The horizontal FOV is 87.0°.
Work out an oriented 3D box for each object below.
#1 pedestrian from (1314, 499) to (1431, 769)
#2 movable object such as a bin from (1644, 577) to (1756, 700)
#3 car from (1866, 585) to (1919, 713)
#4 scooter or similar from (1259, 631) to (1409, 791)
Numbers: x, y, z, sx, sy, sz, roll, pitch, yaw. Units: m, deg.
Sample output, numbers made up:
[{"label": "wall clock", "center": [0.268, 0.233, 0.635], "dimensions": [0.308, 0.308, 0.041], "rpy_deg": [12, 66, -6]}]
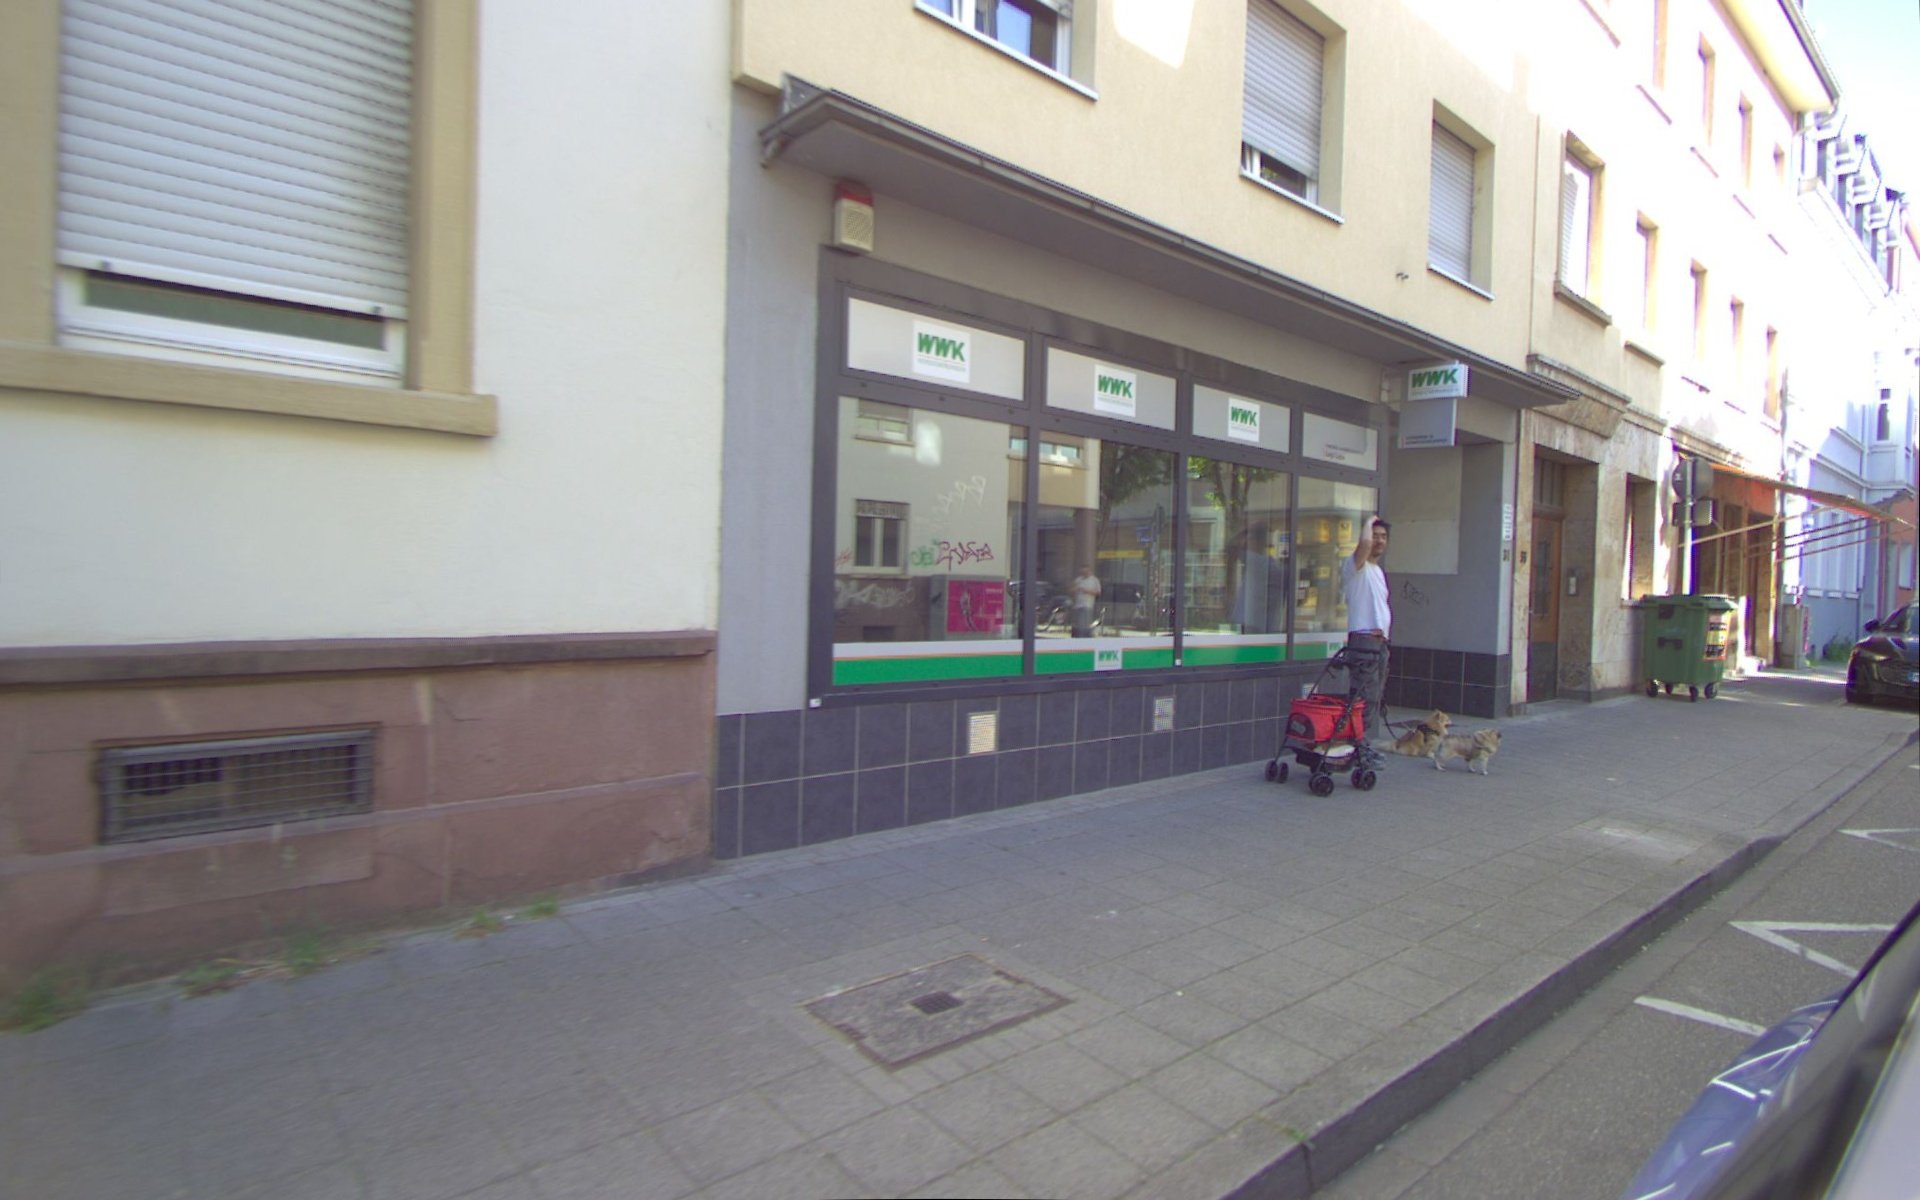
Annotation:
[{"label": "pedestrian", "center": [3.100, 0.221, 7.583], "dimensions": [0.644, 1.882, 0.742], "rpy_deg": [4, 2, 28]}, {"label": "movable object such as a bin", "center": [9.535, 0.464, 13.033], "dimensions": [1.347, 1.453, 0.748], "rpy_deg": [0, 4, -39]}, {"label": "car", "center": [14.123, 0.618, 13.983], "dimensions": [4.811, 1.599, 1.804], "rpy_deg": [0, 1, -41]}, {"label": "scooter or similar", "center": [2.487, 0.703, 6.724], "dimensions": [0.851, 0.956, 0.492], "rpy_deg": [2, 2, -34]}]
